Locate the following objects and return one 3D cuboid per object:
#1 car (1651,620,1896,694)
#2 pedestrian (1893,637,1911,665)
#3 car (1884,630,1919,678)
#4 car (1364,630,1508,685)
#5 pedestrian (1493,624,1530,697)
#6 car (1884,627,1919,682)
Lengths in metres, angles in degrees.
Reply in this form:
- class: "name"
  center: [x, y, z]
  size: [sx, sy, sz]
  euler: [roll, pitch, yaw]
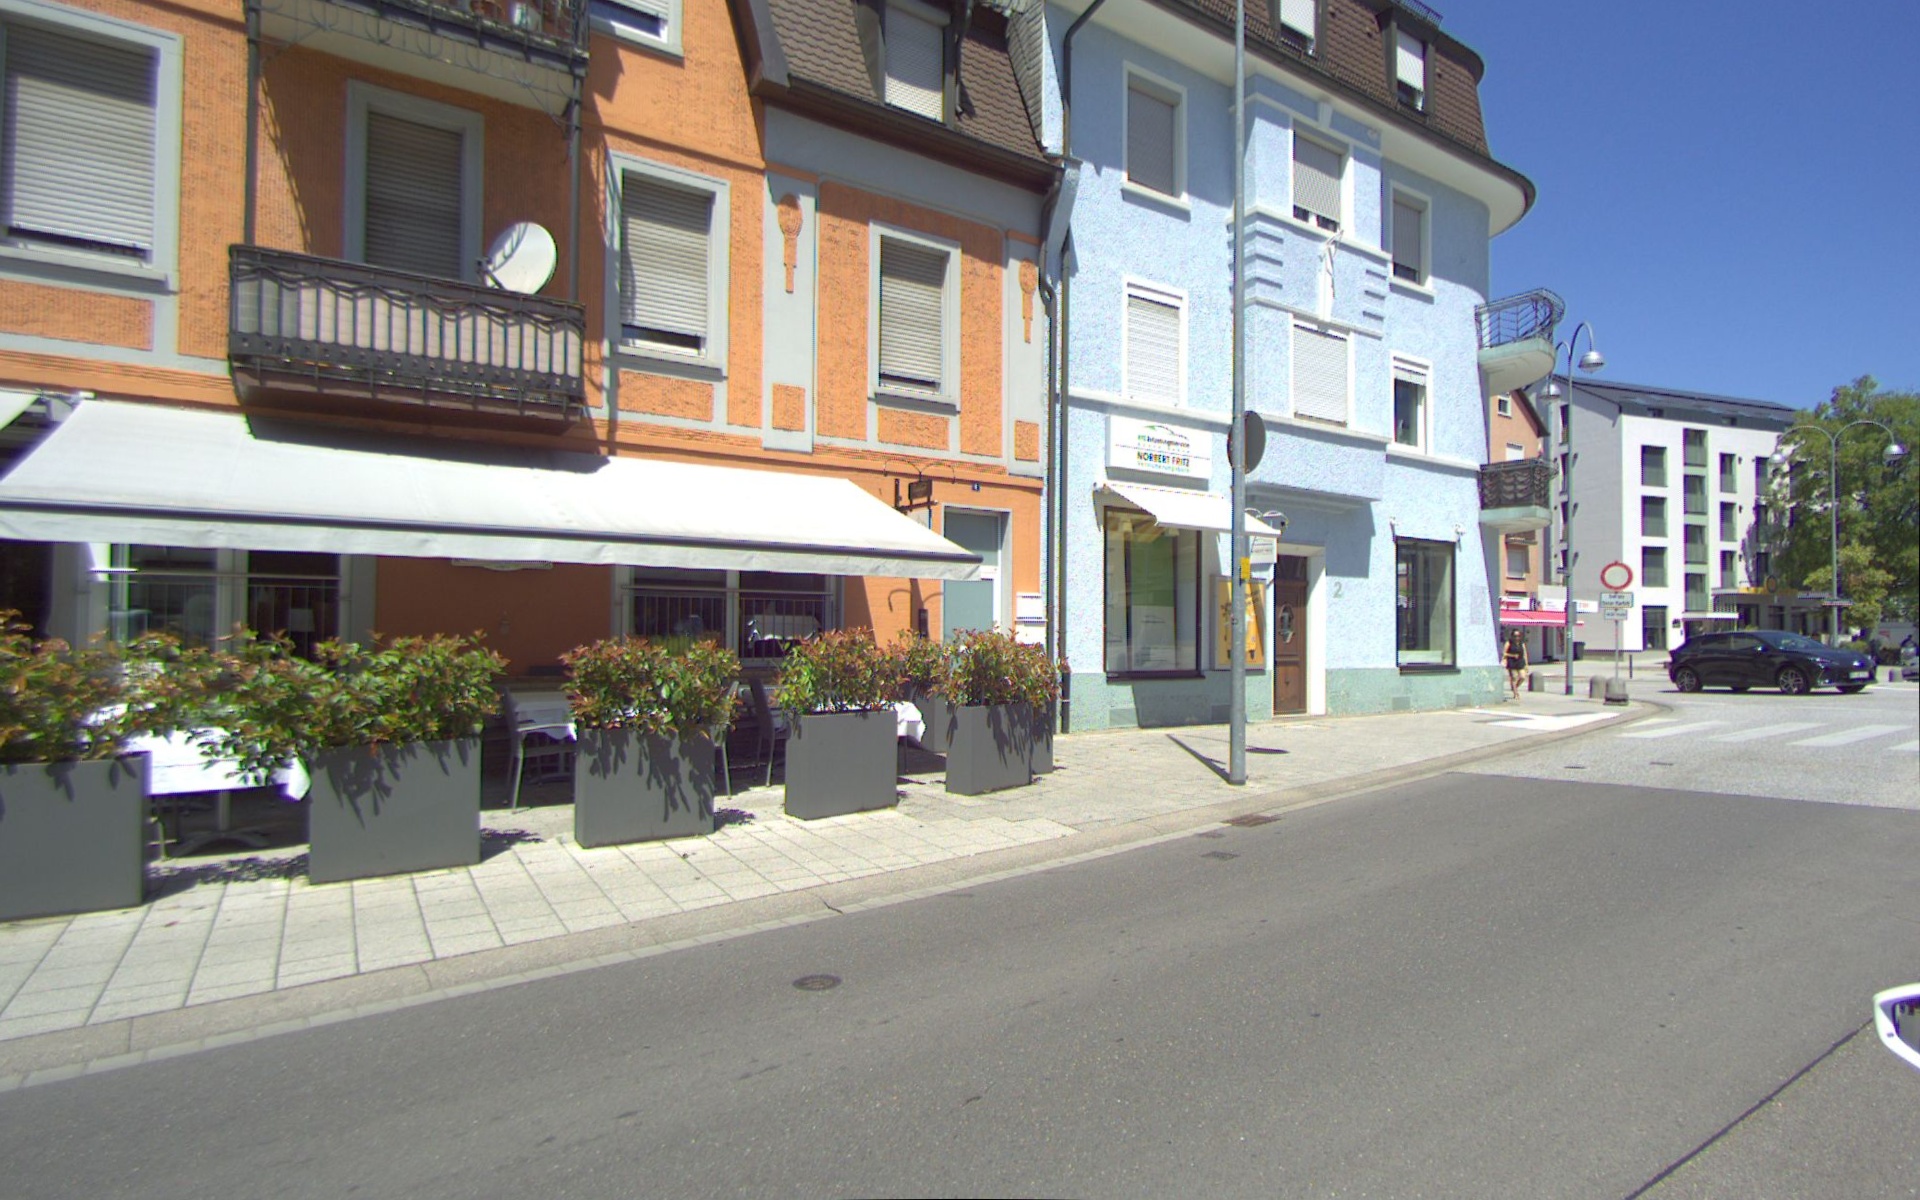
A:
- class: "car"
  center: [19.447, 1.425, 24.273]
  size: [1.783, 1.567, 4.247]
  euler: [-1, -4, -19]
- class: "pedestrian"
  center: [53.397, 2.885, 56.942]
  size: [0.554, 1.596, 0.534]
  euler: [1, -2, -20]
- class: "car"
  center: [30.924, 1.638, 30.834]
  size: [3.406, 1.469, 1.579]
  euler: [-2, -3, 26]
- class: "car"
  center: [16.267, 1.932, 34.524]
  size: [1.817, 1.711, 4.167]
  euler: [-2, -1, -31]
- class: "pedestrian"
  center: [12.371, 1.349, 22.545]
  size: [0.535, 1.606, 0.515]
  euler: [-1, -2, 10]
- class: "car"
  center: [24.988, 1.360, 25.110]
  size: [1.966, 1.347, 4.191]
  euler: [-2, -3, 32]
